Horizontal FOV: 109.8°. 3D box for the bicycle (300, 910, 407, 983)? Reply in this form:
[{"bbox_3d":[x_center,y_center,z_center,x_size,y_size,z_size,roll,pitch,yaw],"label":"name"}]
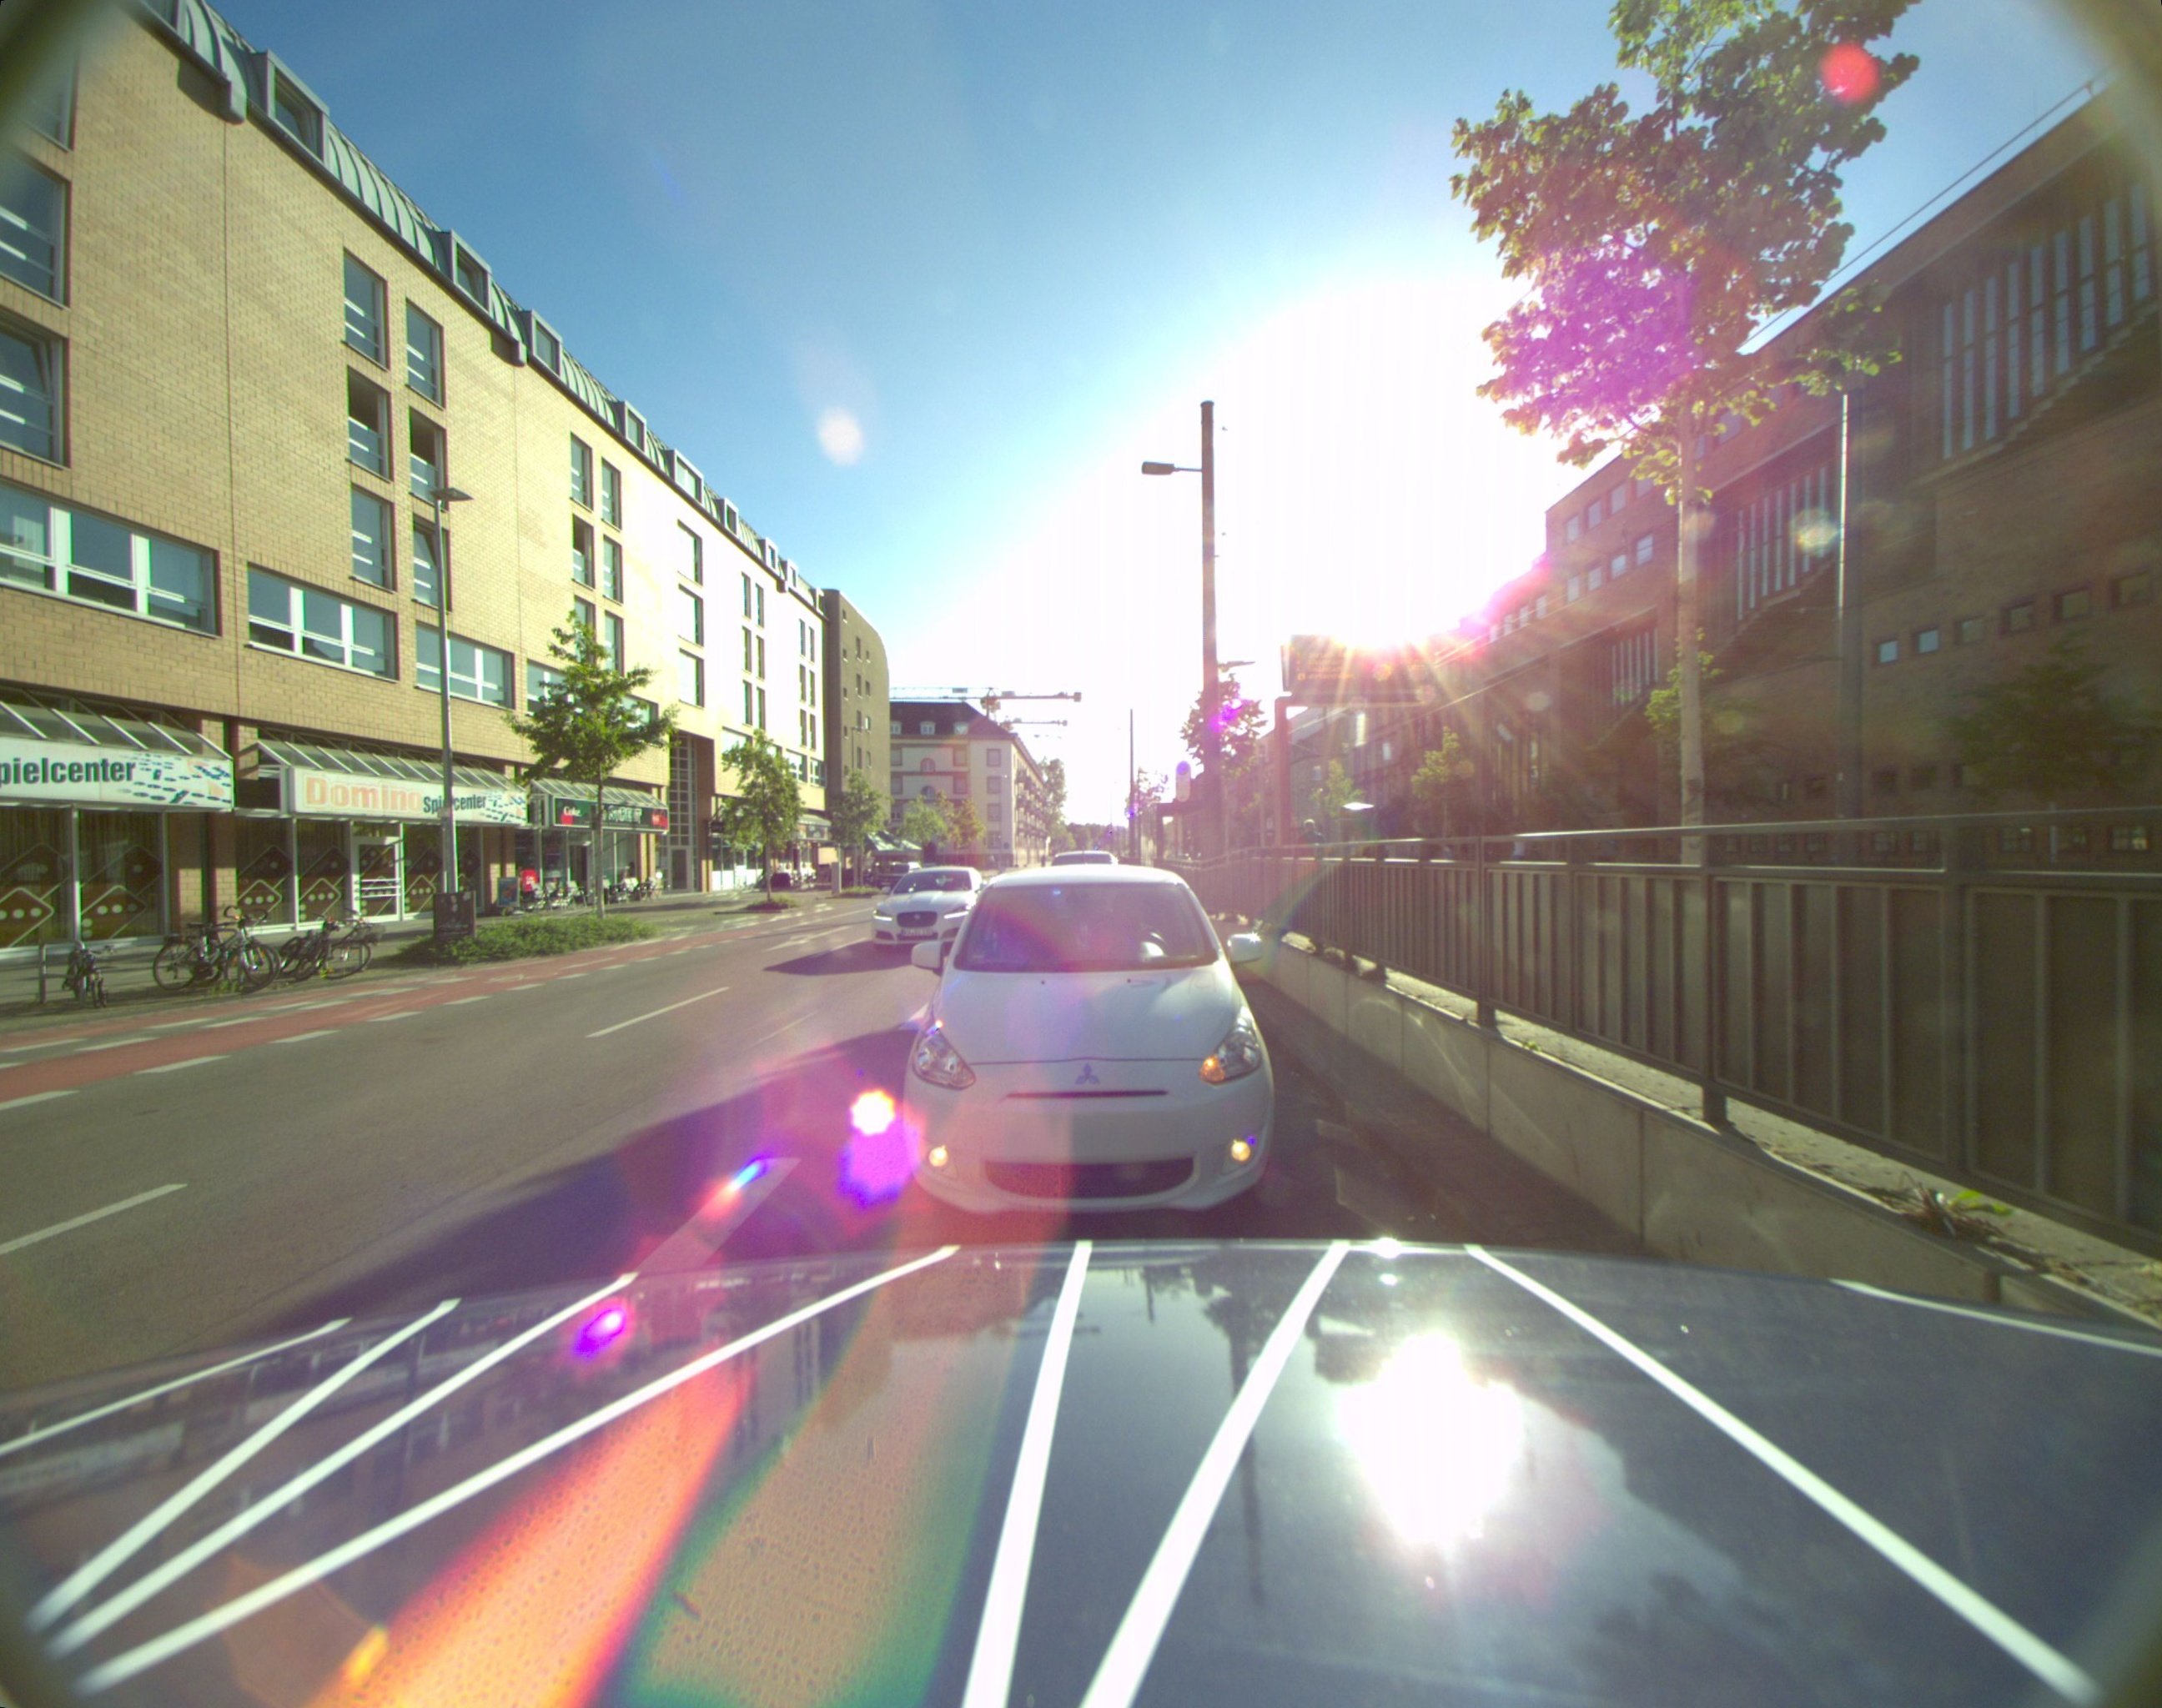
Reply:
[{"bbox_3d":[-11.906,1.494,12.428,1.835,1.050,0.350,1,2,15],"label":"bicycle"}]

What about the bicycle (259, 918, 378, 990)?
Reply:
[{"bbox_3d":[-12.003,1.557,11.958,1.835,0.980,0.449,1,2,15],"label":"bicycle"}]

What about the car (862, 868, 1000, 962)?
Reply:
[{"bbox_3d":[-2.708,1.043,14.764,1.808,1.421,4.452,-1,0,0],"label":"car"}]

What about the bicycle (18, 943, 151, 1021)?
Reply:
[{"bbox_3d":[-12.753,1.614,9.721,1.772,0.827,0.366,1,2,15],"label":"bicycle"}]

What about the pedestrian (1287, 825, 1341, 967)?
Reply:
[{"bbox_3d":[4.105,0.721,13.410,0.684,2.428,0.626,-2,2,-2],"label":"pedestrian"}]

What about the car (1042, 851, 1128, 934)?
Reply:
[{"bbox_3d":[0.075,0.792,17.816,1.720,1.591,4.215,-2,1,0],"label":"car"}]

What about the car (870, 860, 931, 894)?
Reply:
[{"bbox_3d":[-9.724,1.201,41.231,1.778,1.630,4.002,1,1,9],"label":"car"}]

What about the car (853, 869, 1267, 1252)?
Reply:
[{"bbox_3d":[-0.091,0.936,5.377,1.720,1.422,4.215,-2,1,0],"label":"car"}]

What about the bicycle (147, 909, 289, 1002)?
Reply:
[{"bbox_3d":[-12.334,1.423,10.862,1.835,1.156,0.565,1,2,15],"label":"bicycle"}]
